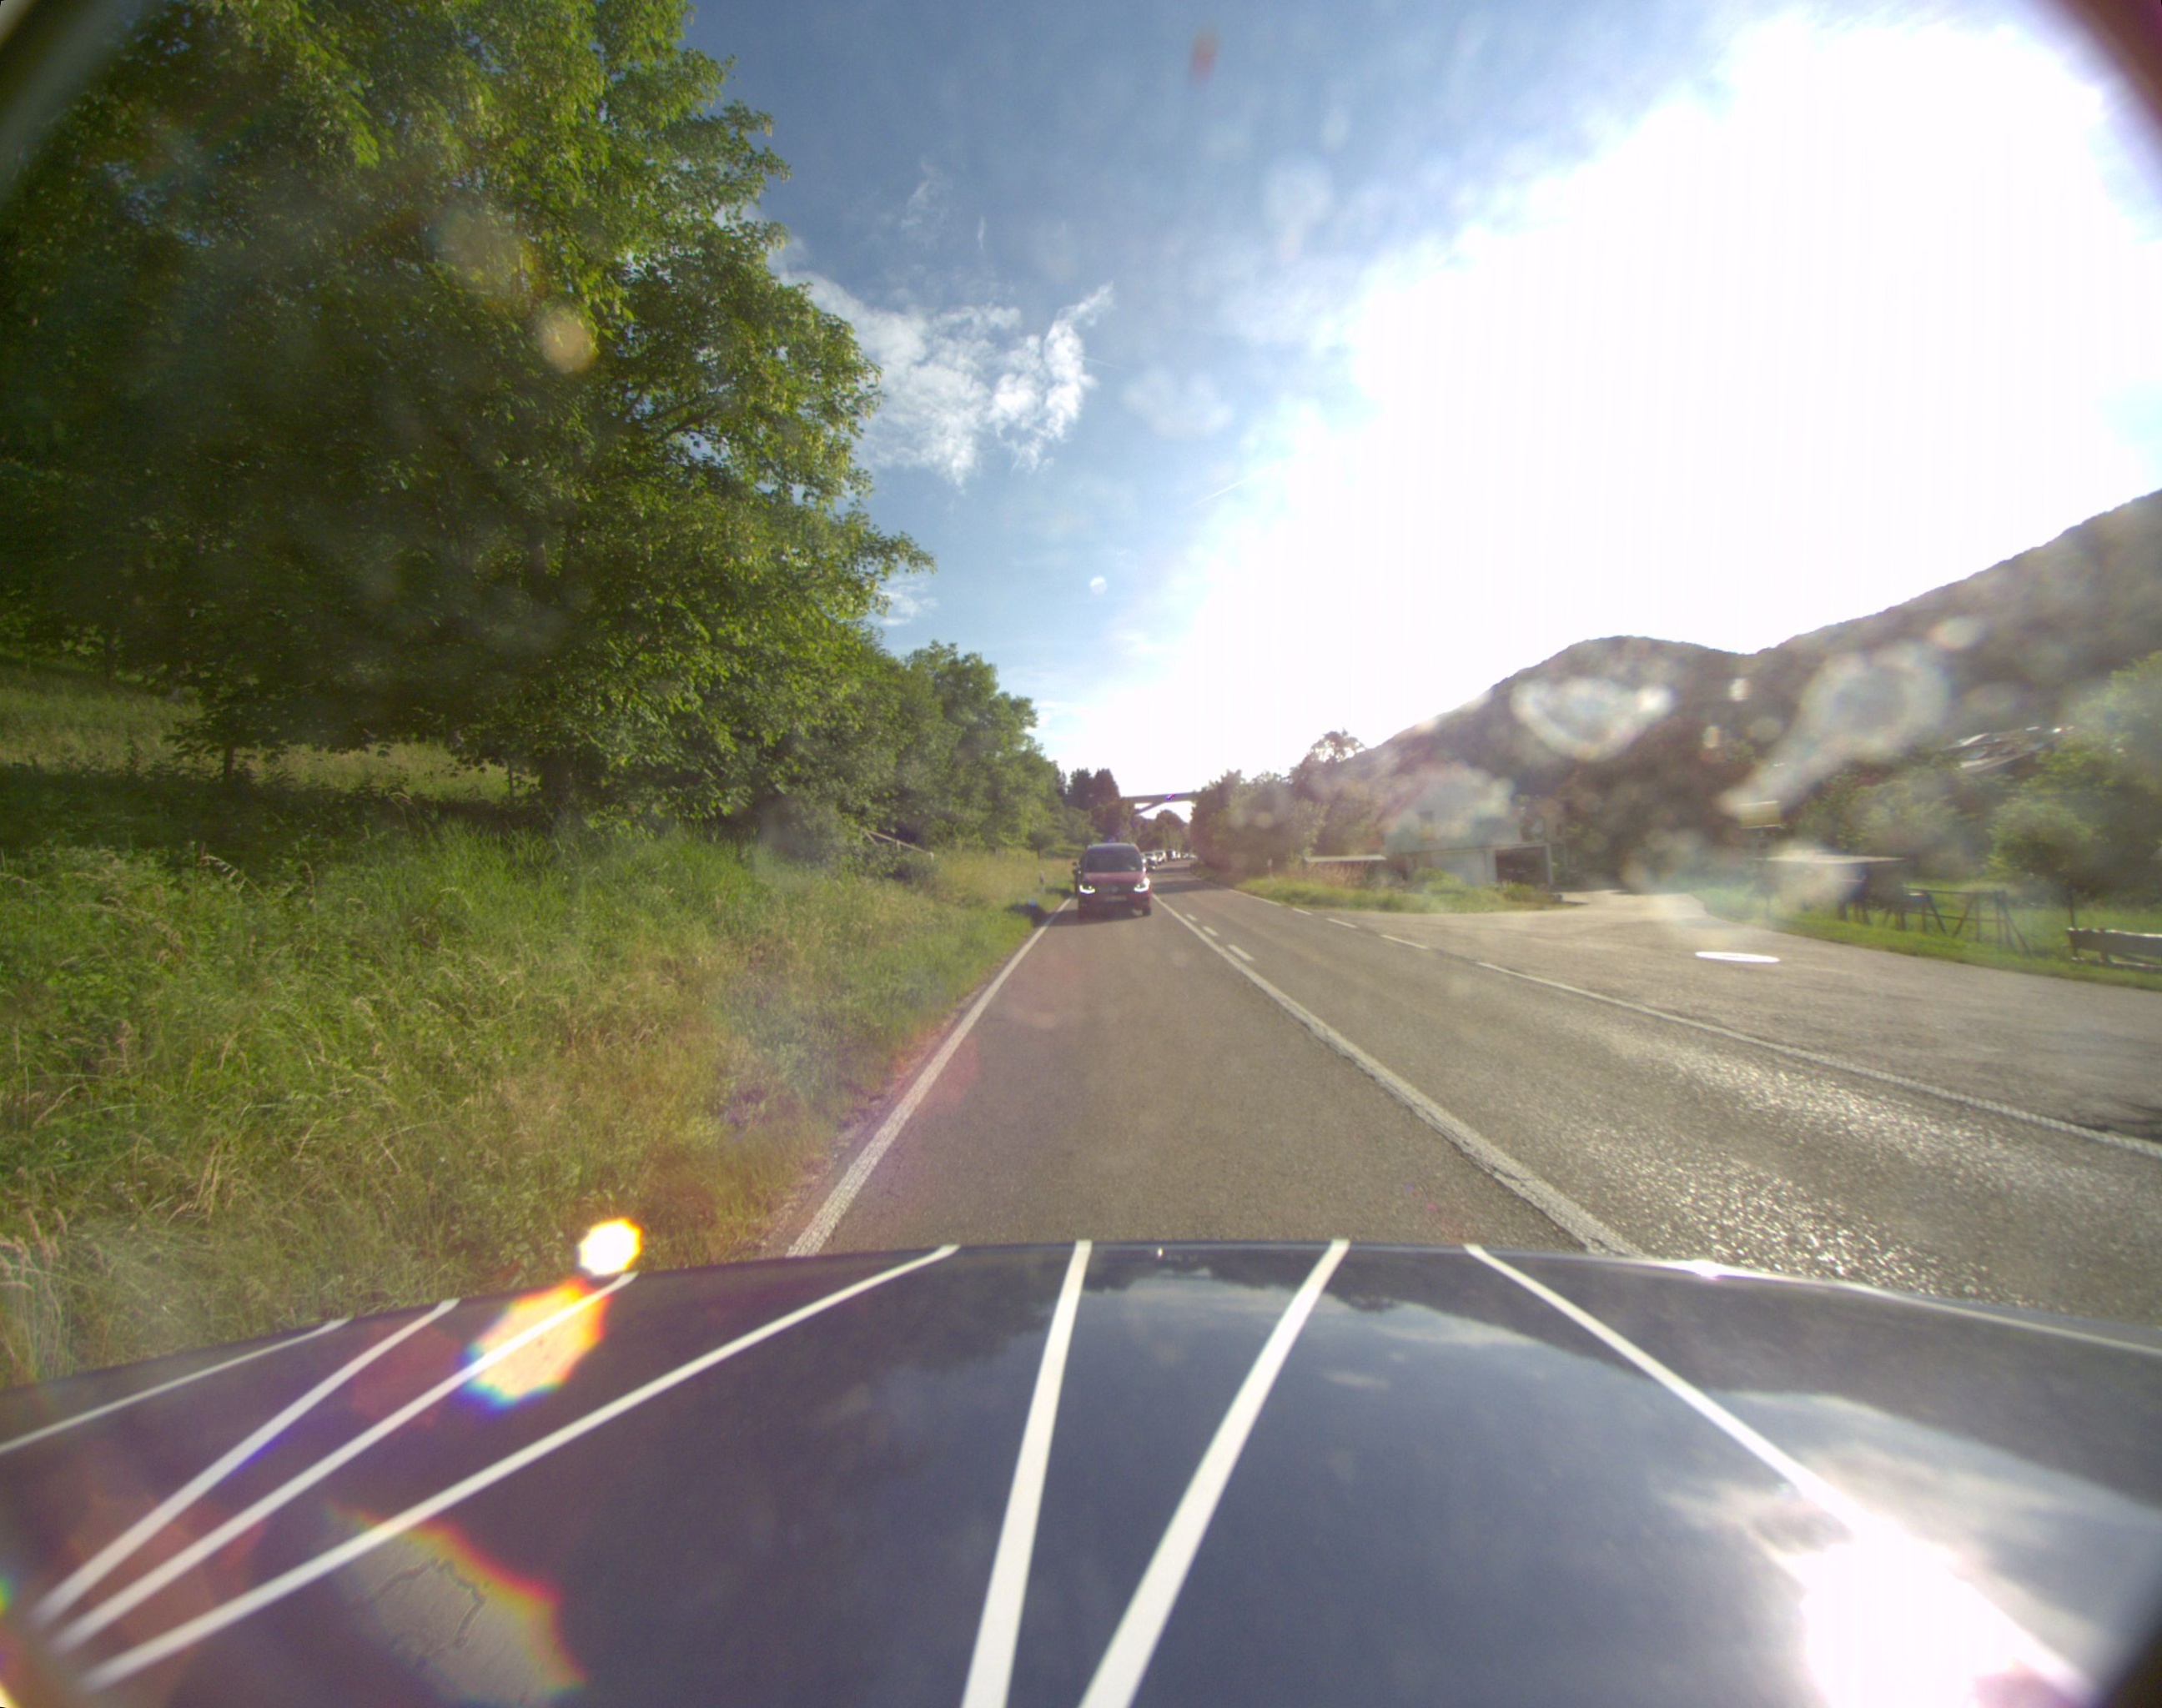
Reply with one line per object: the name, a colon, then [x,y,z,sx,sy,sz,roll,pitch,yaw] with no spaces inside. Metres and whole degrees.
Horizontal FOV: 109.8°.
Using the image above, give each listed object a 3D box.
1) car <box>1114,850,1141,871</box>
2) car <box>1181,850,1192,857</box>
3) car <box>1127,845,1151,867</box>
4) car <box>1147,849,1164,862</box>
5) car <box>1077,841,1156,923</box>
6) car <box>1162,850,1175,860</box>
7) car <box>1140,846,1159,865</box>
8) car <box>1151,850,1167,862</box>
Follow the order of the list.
car: [3.806,0.496,61.632,1.840,1.543,4.180,-1,0,7]
car: [23.394,-0.153,167.973,1.840,1.543,4.182,-1,0,14]
car: [5.516,0.200,72.002,1.913,2.002,4.002,-1,0,9]
car: [9.154,0.132,93.554,1.840,1.543,4.180,-1,0,8]
car: [0.916,0.634,19.407,1.772,1.855,3.876,-2,0,3]
car: [13.771,0.149,119.690,1.817,1.608,4.003,-1,0,10]
car: [7.559,0.146,83.677,1.914,2.002,4.002,-1,0,8]
car: [10.814,0.235,105.115,1.817,1.608,4.003,-1,0,11]
